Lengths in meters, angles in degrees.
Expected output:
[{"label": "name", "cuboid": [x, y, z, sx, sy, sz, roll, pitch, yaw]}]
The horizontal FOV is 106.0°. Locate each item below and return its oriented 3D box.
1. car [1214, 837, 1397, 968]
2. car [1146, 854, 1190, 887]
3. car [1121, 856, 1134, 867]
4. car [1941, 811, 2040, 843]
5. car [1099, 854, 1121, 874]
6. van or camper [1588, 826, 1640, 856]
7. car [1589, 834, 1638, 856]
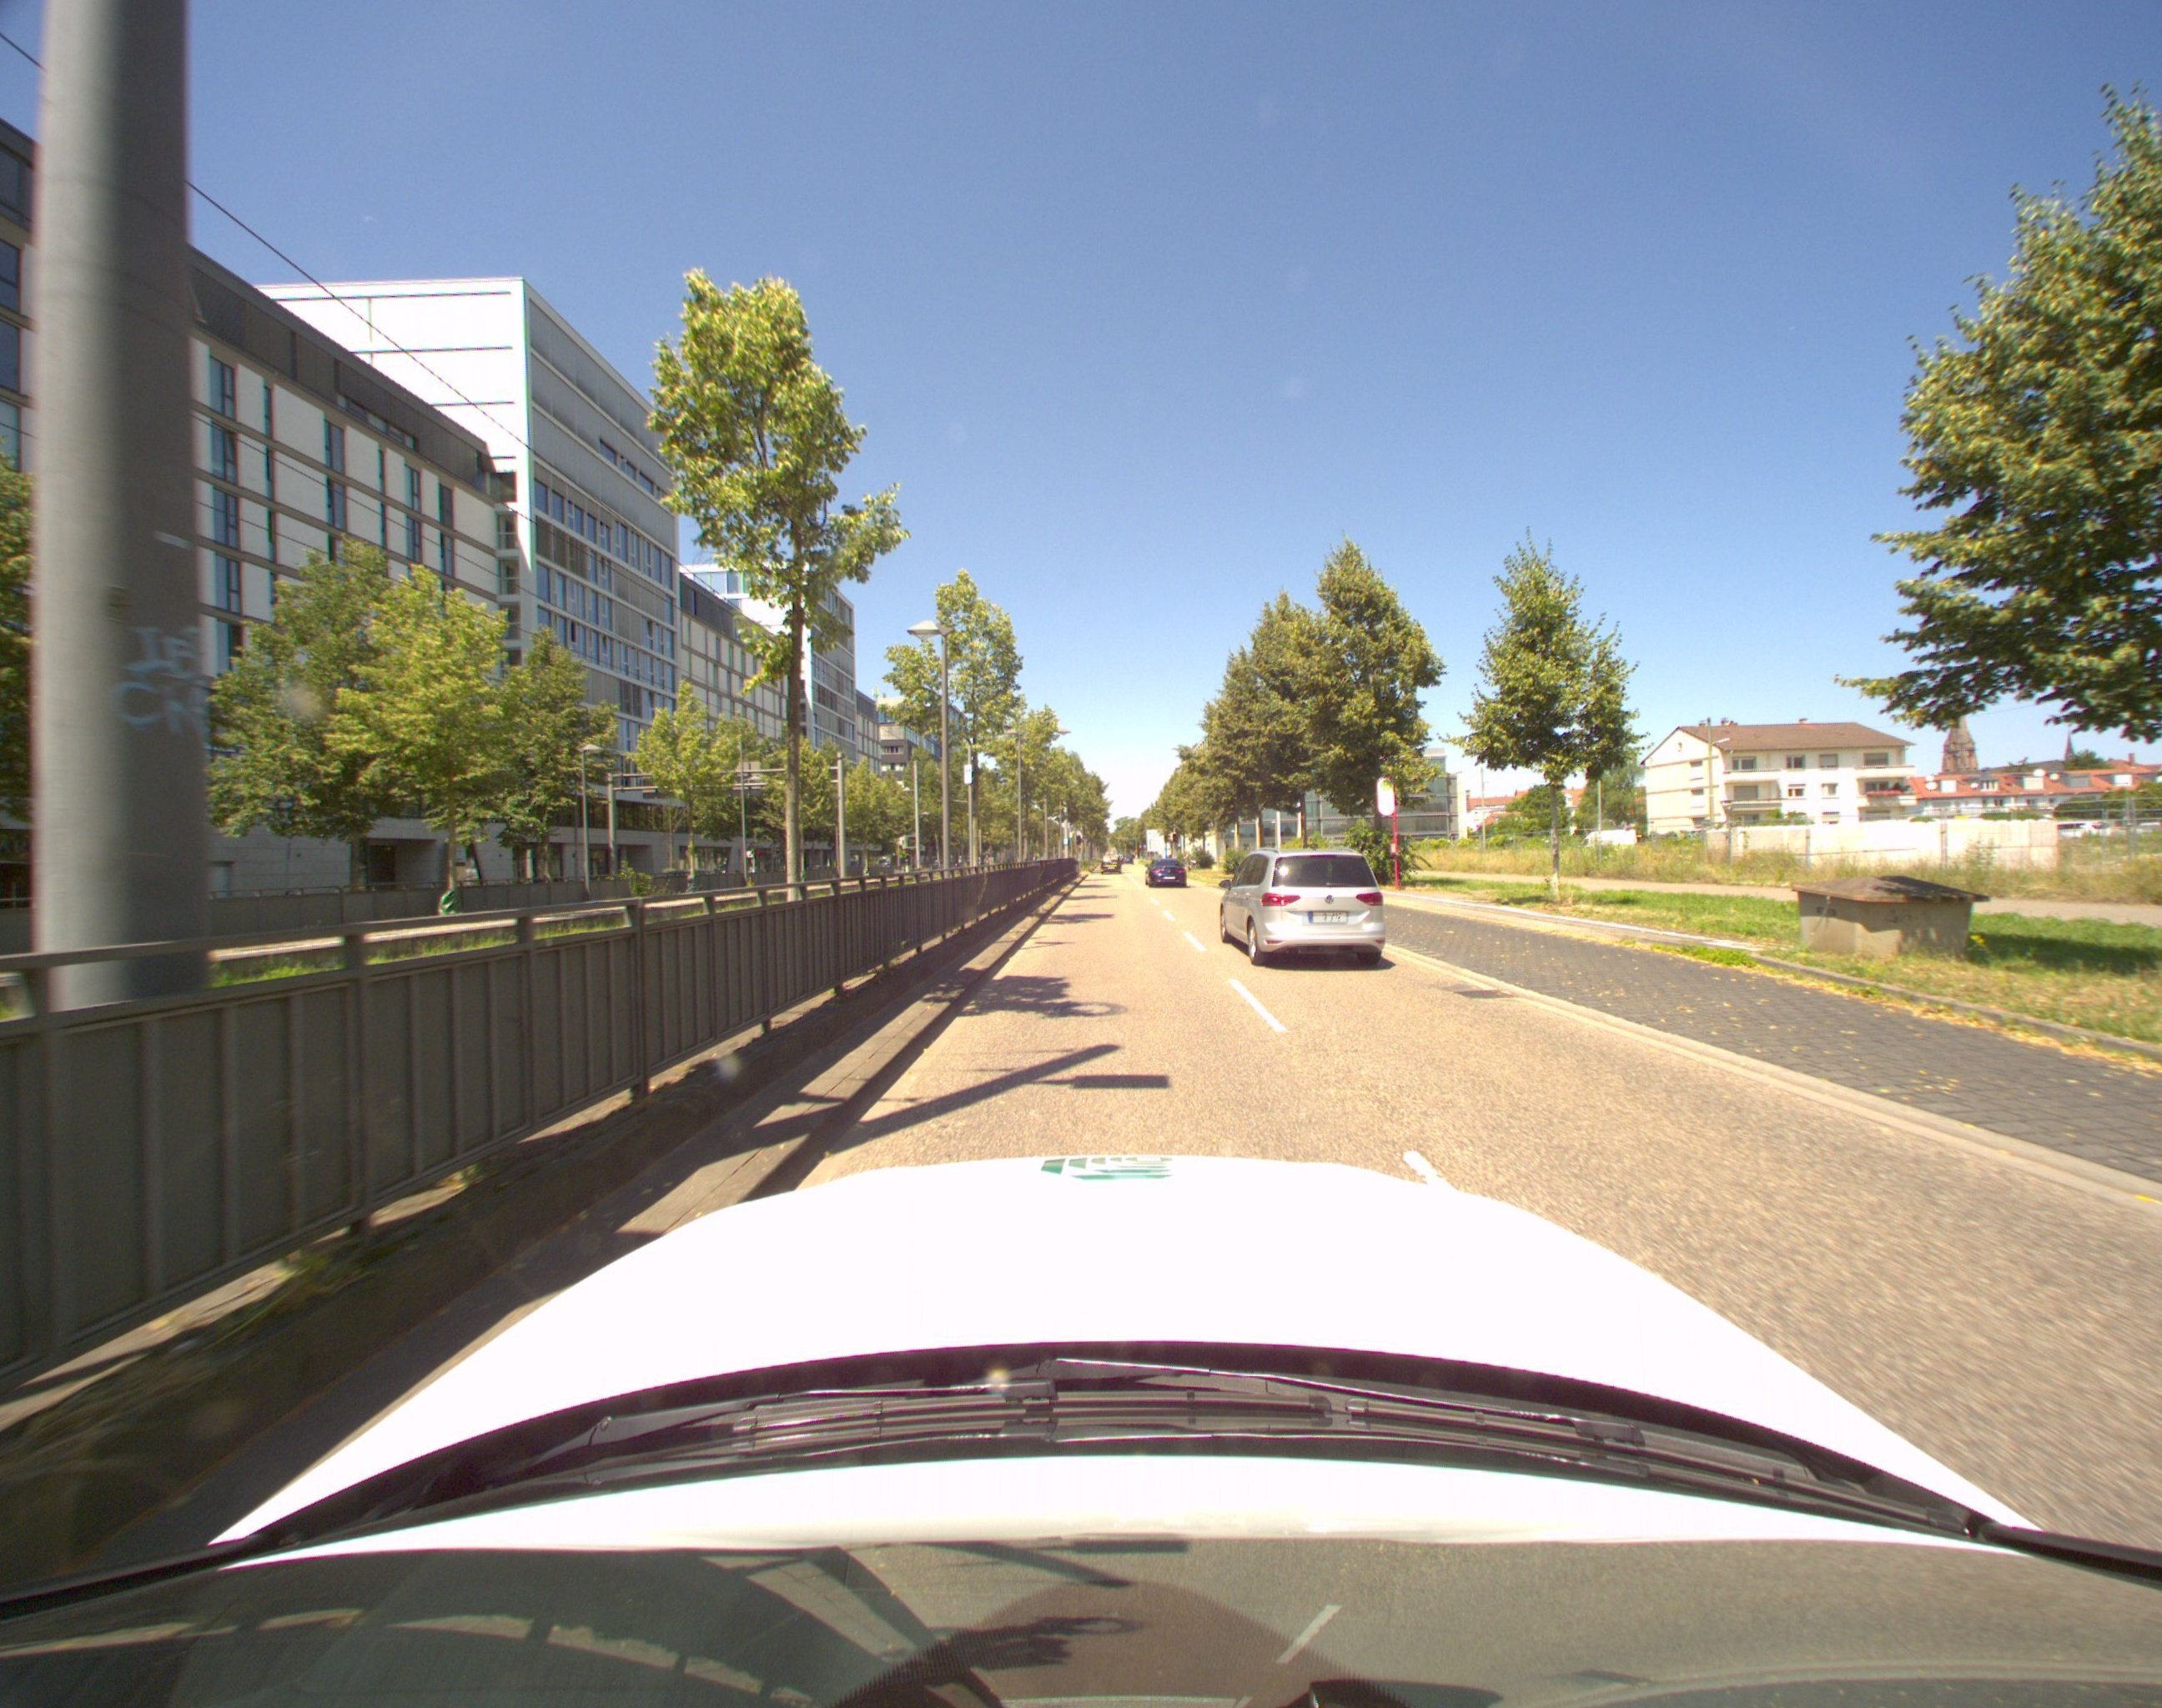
[{"label": "car", "cuboid": [3.273, 0.671, 12.832, 1.793, 1.649, 4.607, 1, -1, 2]}, {"label": "car", "cuboid": [4.150, 0.773, 39.555, 1.844, 1.436, 4.959, -2, 0, 3]}, {"label": "car", "cuboid": [6.965, 1.149, 123.167, 1.760, 1.627, 3.716, -2, -1, 1]}, {"label": "car", "cuboid": [53.605, -1.551, 48.111, 1.670, 1.586, 3.620, -3, -1, -1]}, {"label": "car", "cuboid": [2.284, 0.810, 65.198, 1.613, 1.451, 3.987, -2, -1, 1]}, {"label": "van or camper", "cuboid": [53.121, -1.249, 81.301, 1.989, 2.802, 4.658, -2, 0, -3]}, {"label": "car", "cuboid": [53.132, -0.855, 81.297, 1.989, 2.014, 4.171, -2, 0, -3]}]
